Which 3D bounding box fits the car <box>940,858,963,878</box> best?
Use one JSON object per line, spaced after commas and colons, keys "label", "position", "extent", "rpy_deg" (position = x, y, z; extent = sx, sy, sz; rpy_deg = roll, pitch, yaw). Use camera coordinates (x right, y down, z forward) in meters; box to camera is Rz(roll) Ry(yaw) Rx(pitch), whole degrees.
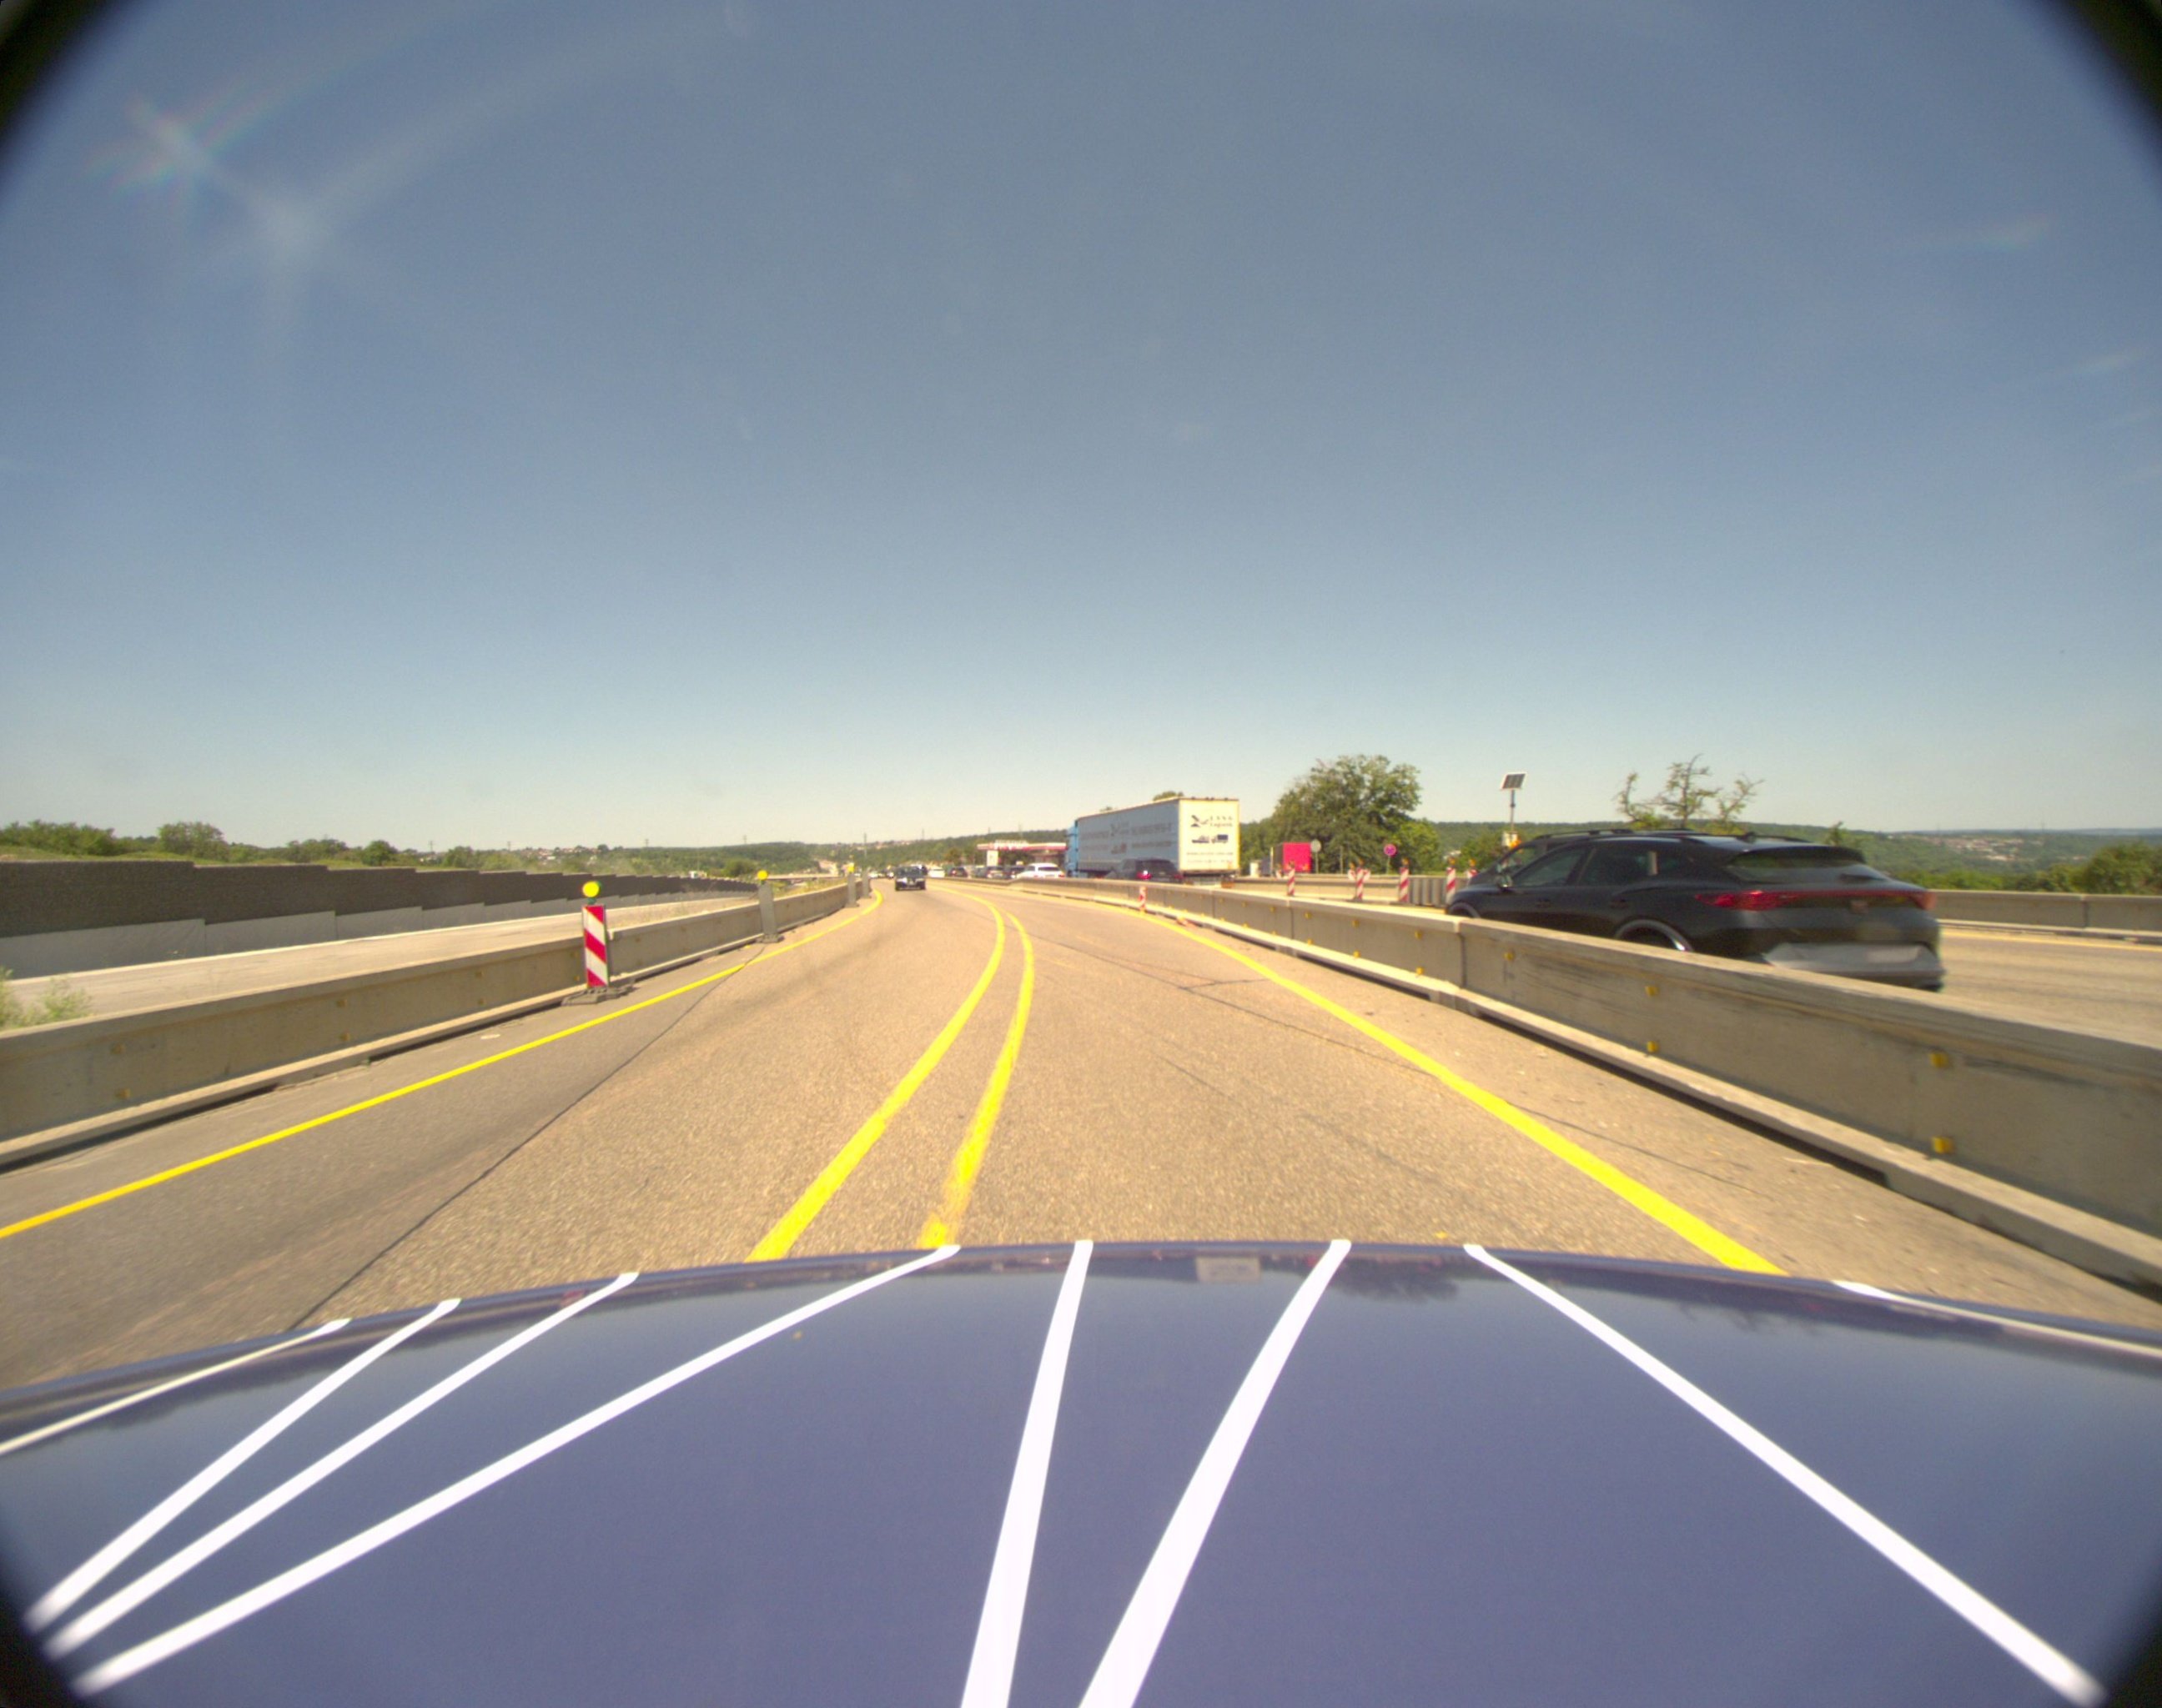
{"label": "car", "position": [-17.384, 1.912, 101.862], "extent": [1.921, 2.385, 6.444], "rpy_deg": [-6, 0, -18]}

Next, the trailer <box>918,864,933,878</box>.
{"label": "trailer", "position": [-27.928, 3.073, 136.463], "extent": [2.190, 2.300, 5.607], "rpy_deg": [0, -1, -17]}

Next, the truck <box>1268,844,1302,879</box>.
{"label": "truck", "position": [23.342, 0.888, 87.159], "extent": [3.155, 3.961, 6.353], "rpy_deg": [0, -1, 10]}

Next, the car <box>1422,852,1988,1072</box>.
{"label": "car", "position": [5.230, 0.744, 7.364], "extent": [1.694, 1.472, 4.469], "rpy_deg": [0, 0, -2]}

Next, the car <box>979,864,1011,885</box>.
{"label": "car", "position": [-6.348, 1.490, 55.570], "extent": [1.595, 1.432, 4.119], "rpy_deg": [1, -1, -17]}

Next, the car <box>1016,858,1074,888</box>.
{"label": "car", "position": [-2.061, 1.027, 41.593], "extent": [2.024, 1.436, 4.581], "rpy_deg": [-4, 0, -17]}

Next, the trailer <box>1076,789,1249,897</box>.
{"label": "trailer", "position": [3.165, -0.299, 36.088], "extent": [2.926, 4.104, 13.896], "rpy_deg": [1, -1, -17]}

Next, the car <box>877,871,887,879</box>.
{"label": "car", "position": [-45.161, 4.694, 172.221], "extent": [1.861, 1.828, 4.585], "rpy_deg": [0, -2, -18]}

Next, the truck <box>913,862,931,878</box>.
{"label": "truck", "position": [-29.926, 2.995, 143.023], "extent": [2.490, 2.807, 8.118], "rpy_deg": [-1, -1, -17]}

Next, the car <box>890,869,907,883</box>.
{"label": "car", "position": [-23.536, 2.844, 98.052], "extent": [1.820, 1.652, 3.995], "rpy_deg": [-4, 0, -17]}

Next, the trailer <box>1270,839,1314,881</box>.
{"label": "trailer", "position": [22.286, 0.680, 80.901], "extent": [3.155, 4.086, 14.177], "rpy_deg": [0, -1, 10]}

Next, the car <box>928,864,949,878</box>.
{"label": "car", "position": [-16.884, 2.018, 89.888], "extent": [1.740, 1.470, 4.513], "rpy_deg": [-4, 0, -17]}

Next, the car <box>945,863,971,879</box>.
{"label": "car", "position": [-11.882, 1.641, 73.226], "extent": [1.781, 1.419, 4.764], "rpy_deg": [1, -1, -17]}

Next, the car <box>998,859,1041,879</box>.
{"label": "car", "position": [-4.834, 1.193, 58.764], "extent": [2.002, 1.390, 4.573], "rpy_deg": [-4, 0, -21]}

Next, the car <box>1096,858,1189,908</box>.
{"label": "car", "position": [2.033, 0.940, 26.704], "extent": [1.775, 1.598, 4.704], "rpy_deg": [0, 0, -15]}

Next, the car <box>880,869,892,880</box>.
{"label": "car", "position": [-32.907, 3.452, 128.188], "extent": [1.710, 1.674, 3.783], "rpy_deg": [-3, 0, -19]}

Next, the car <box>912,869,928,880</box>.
{"label": "car", "position": [-23.889, 3.025, 112.777], "extent": [1.823, 1.368, 4.242], "rpy_deg": [-4, 0, -17]}

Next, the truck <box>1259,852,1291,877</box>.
{"label": "truck", "position": [24.670, 1.403, 96.937], "extent": [2.825, 3.045, 7.125], "rpy_deg": [0, -1, 5]}

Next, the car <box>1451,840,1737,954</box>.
{"label": "car", "position": [9.113, 0.676, 14.119], "extent": [1.781, 1.754, 4.707], "rpy_deg": [0, 0, -6]}

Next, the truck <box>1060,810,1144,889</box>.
{"label": "truck", "position": [1.073, -0.185, 42.947], "extent": [2.926, 4.104, 6.130], "rpy_deg": [1, -1, -17]}

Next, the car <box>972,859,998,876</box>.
{"label": "car", "position": [-9.573, 1.373, 75.876], "extent": [1.774, 1.588, 3.994], "rpy_deg": [-4, 0, -18]}

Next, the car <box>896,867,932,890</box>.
{"label": "car", "position": [-9.770, 1.437, 44.345], "extent": [1.812, 1.298, 3.996], "rpy_deg": [0, -2, -16]}
